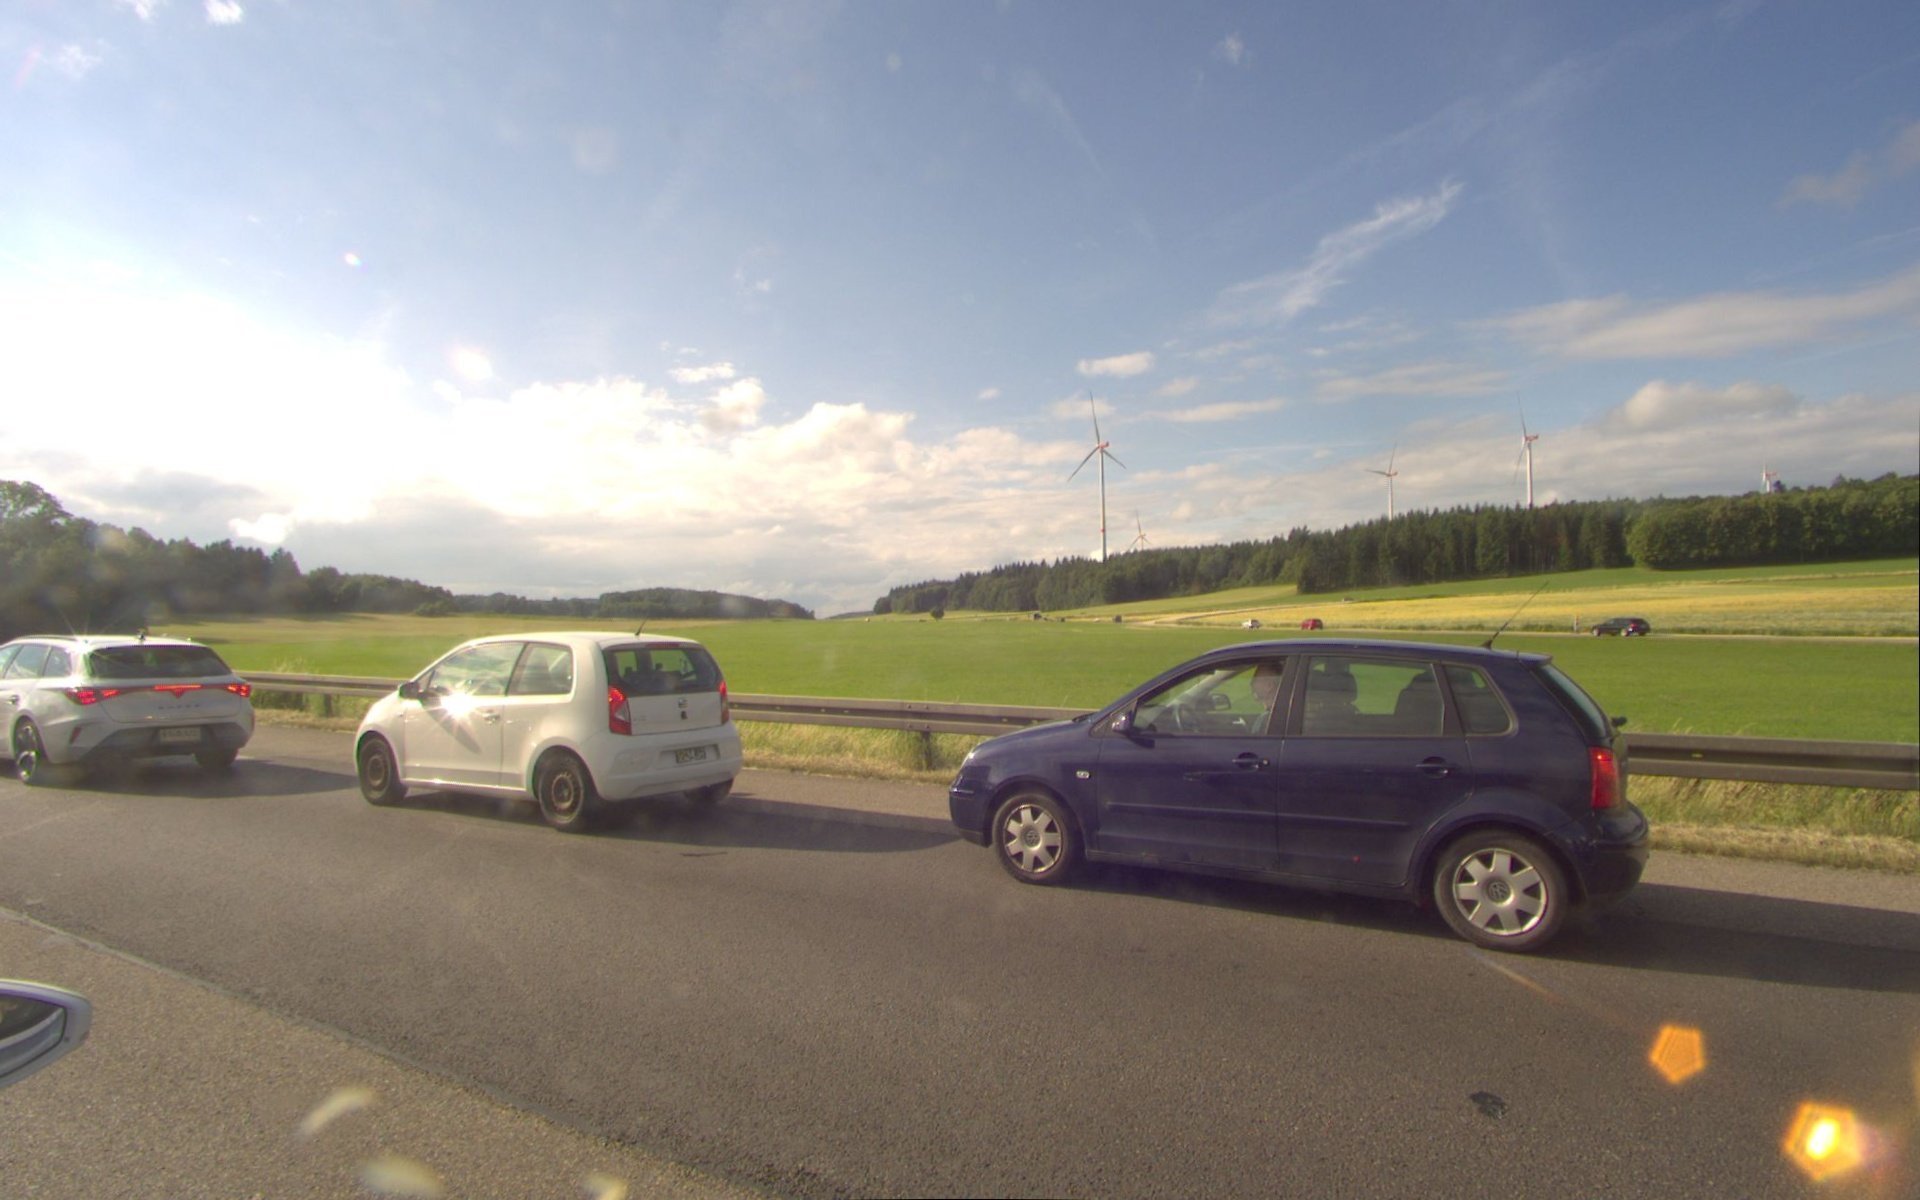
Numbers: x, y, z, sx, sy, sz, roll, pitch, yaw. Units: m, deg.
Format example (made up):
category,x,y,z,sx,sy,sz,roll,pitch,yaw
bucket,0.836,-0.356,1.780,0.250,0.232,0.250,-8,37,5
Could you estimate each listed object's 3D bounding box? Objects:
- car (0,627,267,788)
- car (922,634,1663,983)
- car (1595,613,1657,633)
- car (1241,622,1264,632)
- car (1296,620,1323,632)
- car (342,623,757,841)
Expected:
category,x,y,z,sx,sy,sz,roll,pitch,yaw
car,-9.486,1.048,10.868,4.084,1.464,1.619,-1,-2,29
car,1.791,0.943,5.921,3.719,1.464,1.708,-1,-2,31
car,52.141,1.828,78.500,1.803,1.505,4.221,0,-2,-6
car,45.070,4.175,154.440,1.803,1.505,4.288,0,-2,-6
car,46.136,3.405,132.282,1.803,1.505,4.221,0,-2,-6
car,-3.533,0.968,8.548,3.326,1.514,1.547,0,-1,29
